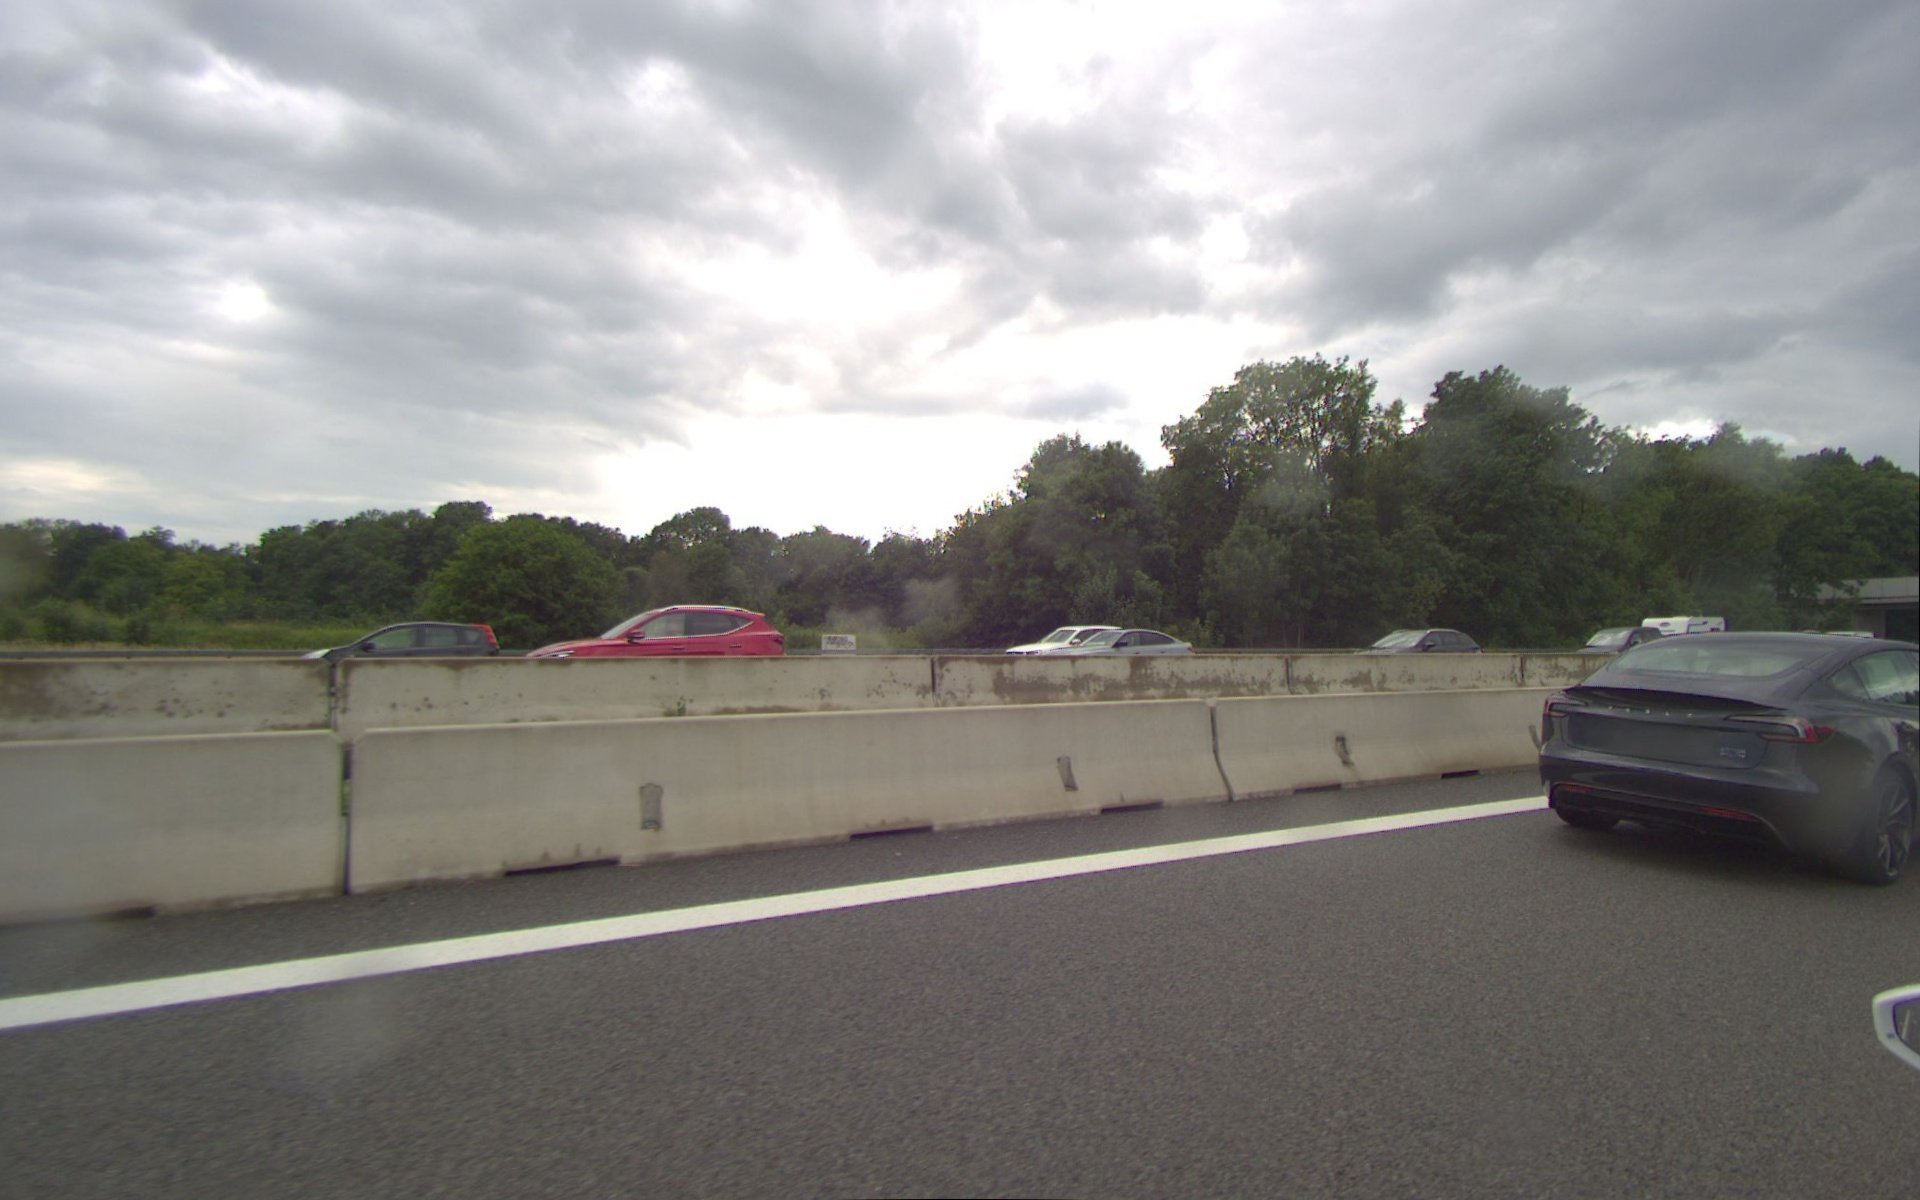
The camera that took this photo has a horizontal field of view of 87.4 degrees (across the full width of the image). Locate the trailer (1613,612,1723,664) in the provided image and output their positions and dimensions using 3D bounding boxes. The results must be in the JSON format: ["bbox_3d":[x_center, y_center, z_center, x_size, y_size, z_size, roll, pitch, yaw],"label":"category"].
[{"bbox_3d":[34.694,1.827,49.199,5.715,2.406,2.231,1,0,-30],"label":"trailer"}]

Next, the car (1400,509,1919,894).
[{"bbox_3d":[5.553,0.529,6.984,5.103,1.845,1.984,1,-1,-31],"label":"car"}]

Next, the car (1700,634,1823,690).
[{"bbox_3d":[30.969,2.326,38.770,5.163,1.978,1.984,1,0,-30],"label":"car"}]

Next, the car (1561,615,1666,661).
[{"bbox_3d":[30.336,1.740,46.600,5.163,1.978,1.984,1,0,-30],"label":"car"}]

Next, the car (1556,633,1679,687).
[{"bbox_3d":[26.044,2.320,39.744,5.163,1.978,1.984,1,0,-30],"label":"car"}]

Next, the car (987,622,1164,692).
[{"bbox_3d":[3.627,1.718,31.220,5.163,1.978,2.231,1,-1,-30],"label":"car"}]

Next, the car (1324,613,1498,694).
[{"bbox_3d":[12.429,1.402,27.616,4.708,2.040,1.984,1,0,-30],"label":"car"}]

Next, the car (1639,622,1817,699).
[{"bbox_3d":[21.860,1.653,28.539,5.163,1.978,2.231,1,-1,-30],"label":"car"}]

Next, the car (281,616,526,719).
[{"bbox_3d":[-12.076,1.392,22.040,4.508,2.040,1.899,1,0,-30],"label":"car"}]

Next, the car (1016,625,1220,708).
[{"bbox_3d":[4.256,1.699,26.825,5.163,1.978,2.231,1,-1,-30],"label":"car"}]

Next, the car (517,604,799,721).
[{"bbox_3d":[-5.046,0.976,16.931,4.286,1.768,1.670,1,0,-31],"label":"car"}]
